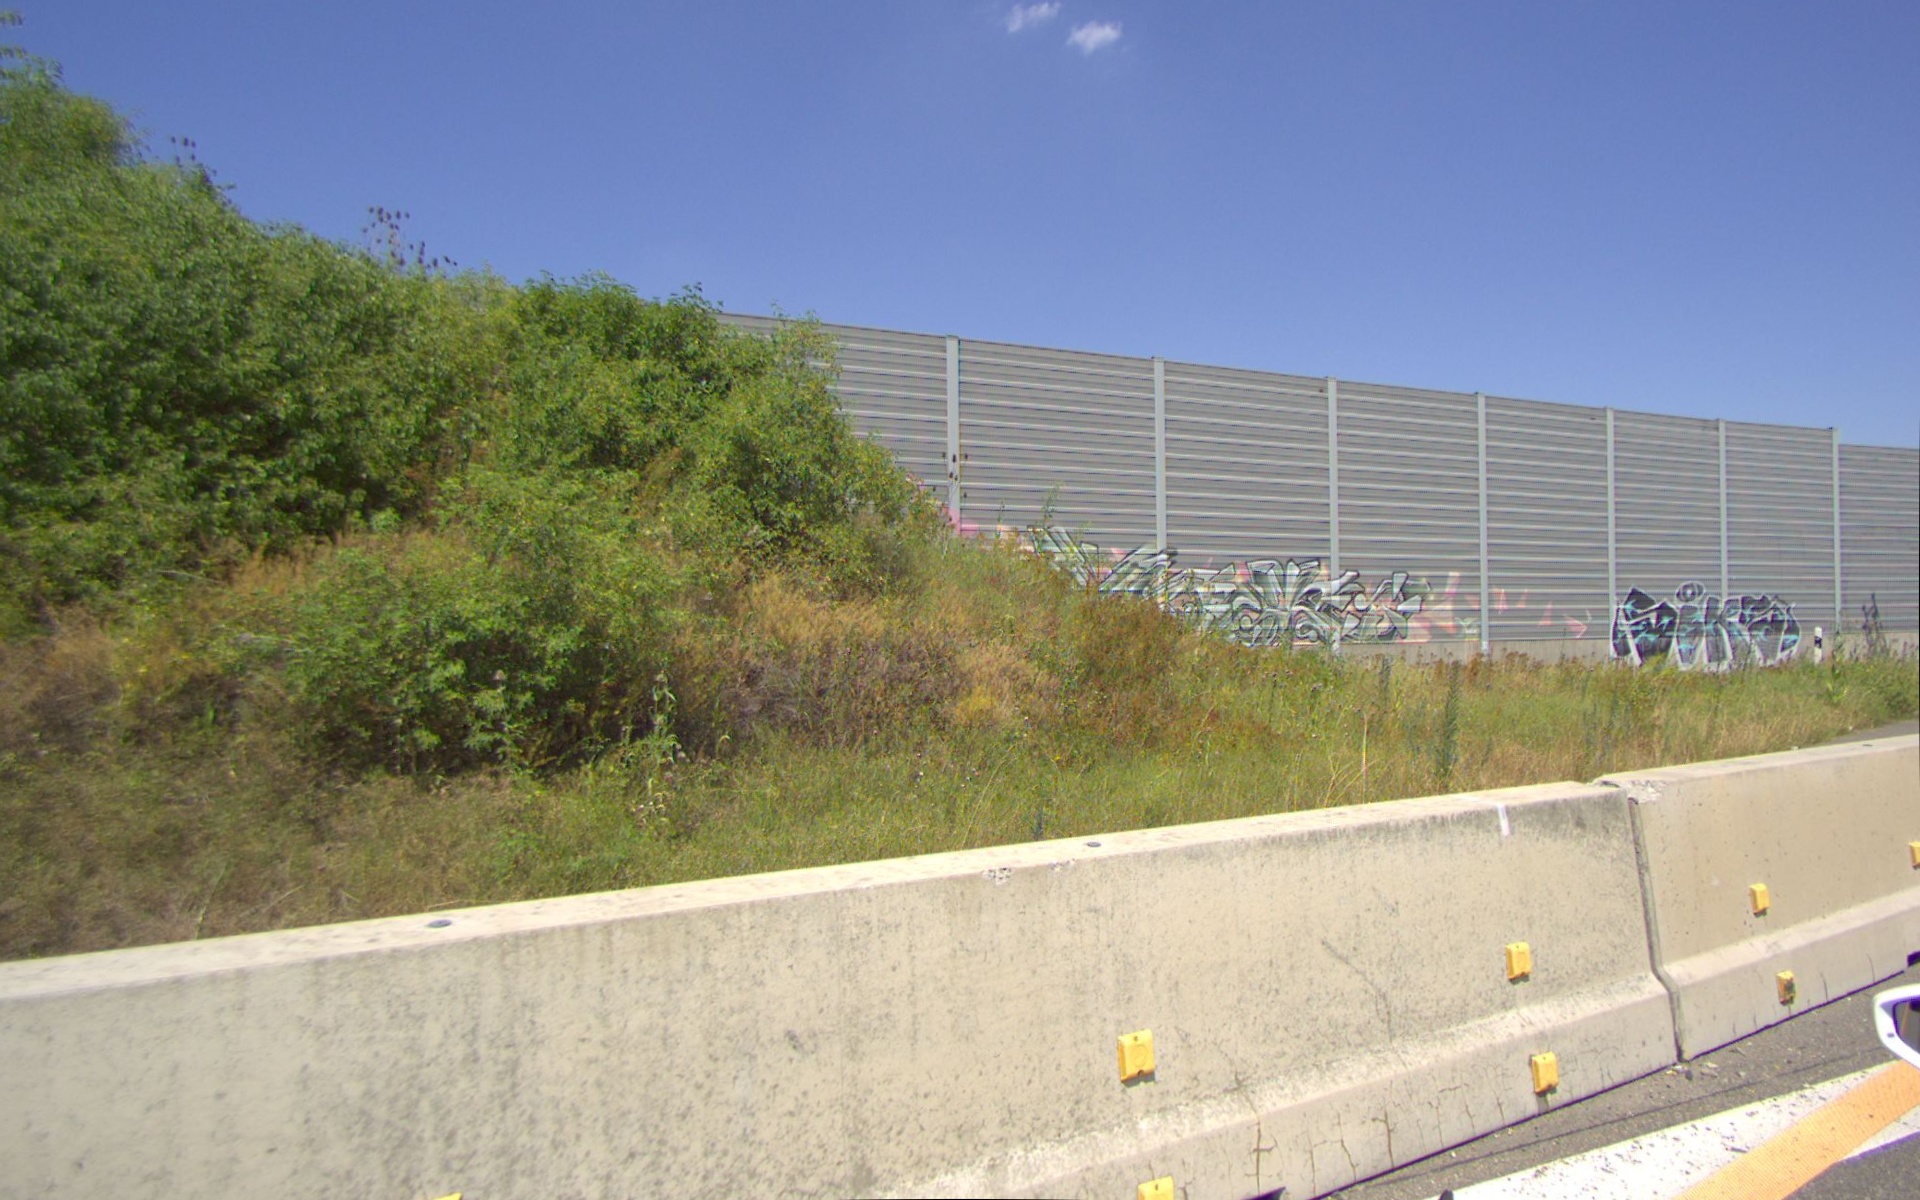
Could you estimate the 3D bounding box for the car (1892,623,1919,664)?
[{"bbox_3d":[49.750,2.227,50.852,3.933,2.040,1.994,1,0,-15],"label":"car"}]
